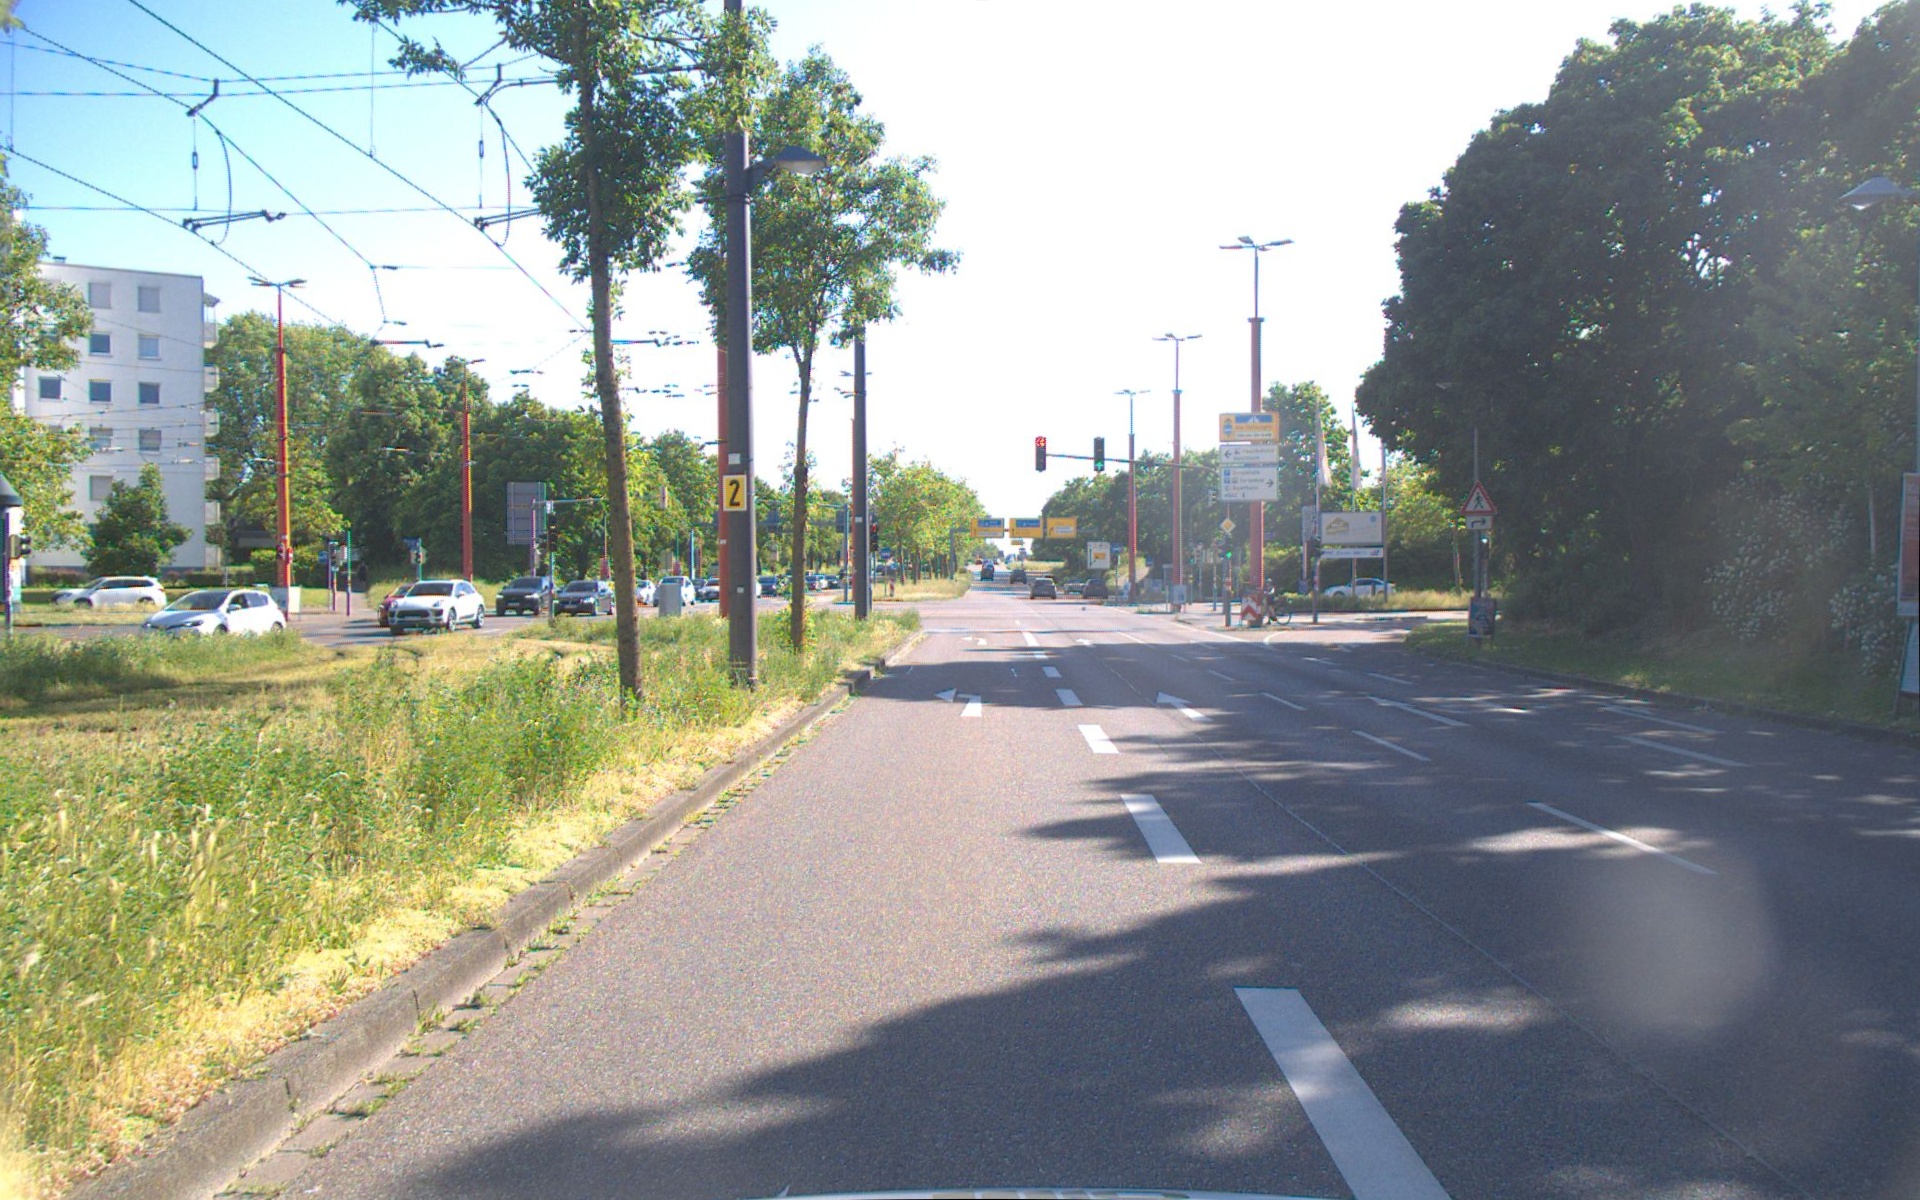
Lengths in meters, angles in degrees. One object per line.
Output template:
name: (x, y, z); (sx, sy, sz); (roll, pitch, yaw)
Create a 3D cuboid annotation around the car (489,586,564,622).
car: (-19.028, 0.137, 72.765); (1.952, 1.506, 4.632); (1, 0, 2)

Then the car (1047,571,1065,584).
car: (11.307, -2.633, 194.718); (1.952, 1.567, 4.001); (0, 1, 1)

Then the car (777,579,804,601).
car: (-13.922, -0.837, 136.051); (1.763, 1.737, 4.060); (-1, 0, 1)

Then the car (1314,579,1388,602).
car: (23.905, -0.589, 101.344); (4.284, 1.395, 2.063); (0, 0, 9)

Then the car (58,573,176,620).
car: (-38.047, -0.176, 74.693); (4.375, 2.049, 1.967); (-1, 1, -45)

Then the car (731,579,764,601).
car: (-14.750, -0.695, 114.985); (1.668, 1.447, 4.643); (-1, 0, 1)

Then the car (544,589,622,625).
car: (-15.822, 0.263, 69.714); (1.952, 1.434, 4.992); (1, 0, 2)

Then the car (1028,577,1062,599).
car: (5.935, -0.836, 116.038); (1.954, 1.523, 3.998); (0, 1, -3)

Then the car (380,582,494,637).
car: (-16.497, 0.268, 52.455); (1.855, 1.650, 4.659); (1, 0, 4)

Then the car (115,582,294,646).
car: (-17.999, 0.301, 39.650); (1.859, 1.422, 4.546); (1, 0, 5)

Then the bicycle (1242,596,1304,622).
bicycle: (11.207, 0.333, 59.226); (2.122, 0.894, 0.558); (1, 0, -11)

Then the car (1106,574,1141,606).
car: (9.877, -0.615, 99.943); (1.951, 1.920, 4.003); (0, 1, 8)

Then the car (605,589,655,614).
car: (-19.220, 0.085, 96.515); (1.952, 1.398, 4.401); (1, 0, 1)

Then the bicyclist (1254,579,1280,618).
bicyclist: (10.983, -0.066, 59.142); (0.726, 1.365, 0.706); (1, 0, -9)

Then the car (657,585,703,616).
car: (-15.115, 0.027, 89.419); (1.726, 1.636, 3.759); (-1, 0, 2)

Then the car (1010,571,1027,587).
car: (7.522, -2.655, 212.376); (2.110, 2.049, 4.001); (0, 1, 1)

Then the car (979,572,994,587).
car: (3.639, -2.897, 230.652); (1.953, 2.049, 3.999); (1, 0, -1)

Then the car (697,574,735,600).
car: (-15.256, -0.847, 103.646); (1.556, 1.498, 4.184); (-1, 1, 2)

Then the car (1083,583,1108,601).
car: (10.216, -0.593, 125.147); (1.702, 1.365, 3.082); (0, 1, 1)

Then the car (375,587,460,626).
car: (-19.346, 0.201, 59.115); (1.623, 1.320, 4.177); (1, 0, 0)

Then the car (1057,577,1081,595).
car: (9.723, -1.262, 147.576); (1.952, 1.567, 4.001); (1, 0, 1)

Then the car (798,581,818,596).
car: (-14.433, -1.109, 157.016); (1.516, 1.401, 4.263); (0, 1, 0)
